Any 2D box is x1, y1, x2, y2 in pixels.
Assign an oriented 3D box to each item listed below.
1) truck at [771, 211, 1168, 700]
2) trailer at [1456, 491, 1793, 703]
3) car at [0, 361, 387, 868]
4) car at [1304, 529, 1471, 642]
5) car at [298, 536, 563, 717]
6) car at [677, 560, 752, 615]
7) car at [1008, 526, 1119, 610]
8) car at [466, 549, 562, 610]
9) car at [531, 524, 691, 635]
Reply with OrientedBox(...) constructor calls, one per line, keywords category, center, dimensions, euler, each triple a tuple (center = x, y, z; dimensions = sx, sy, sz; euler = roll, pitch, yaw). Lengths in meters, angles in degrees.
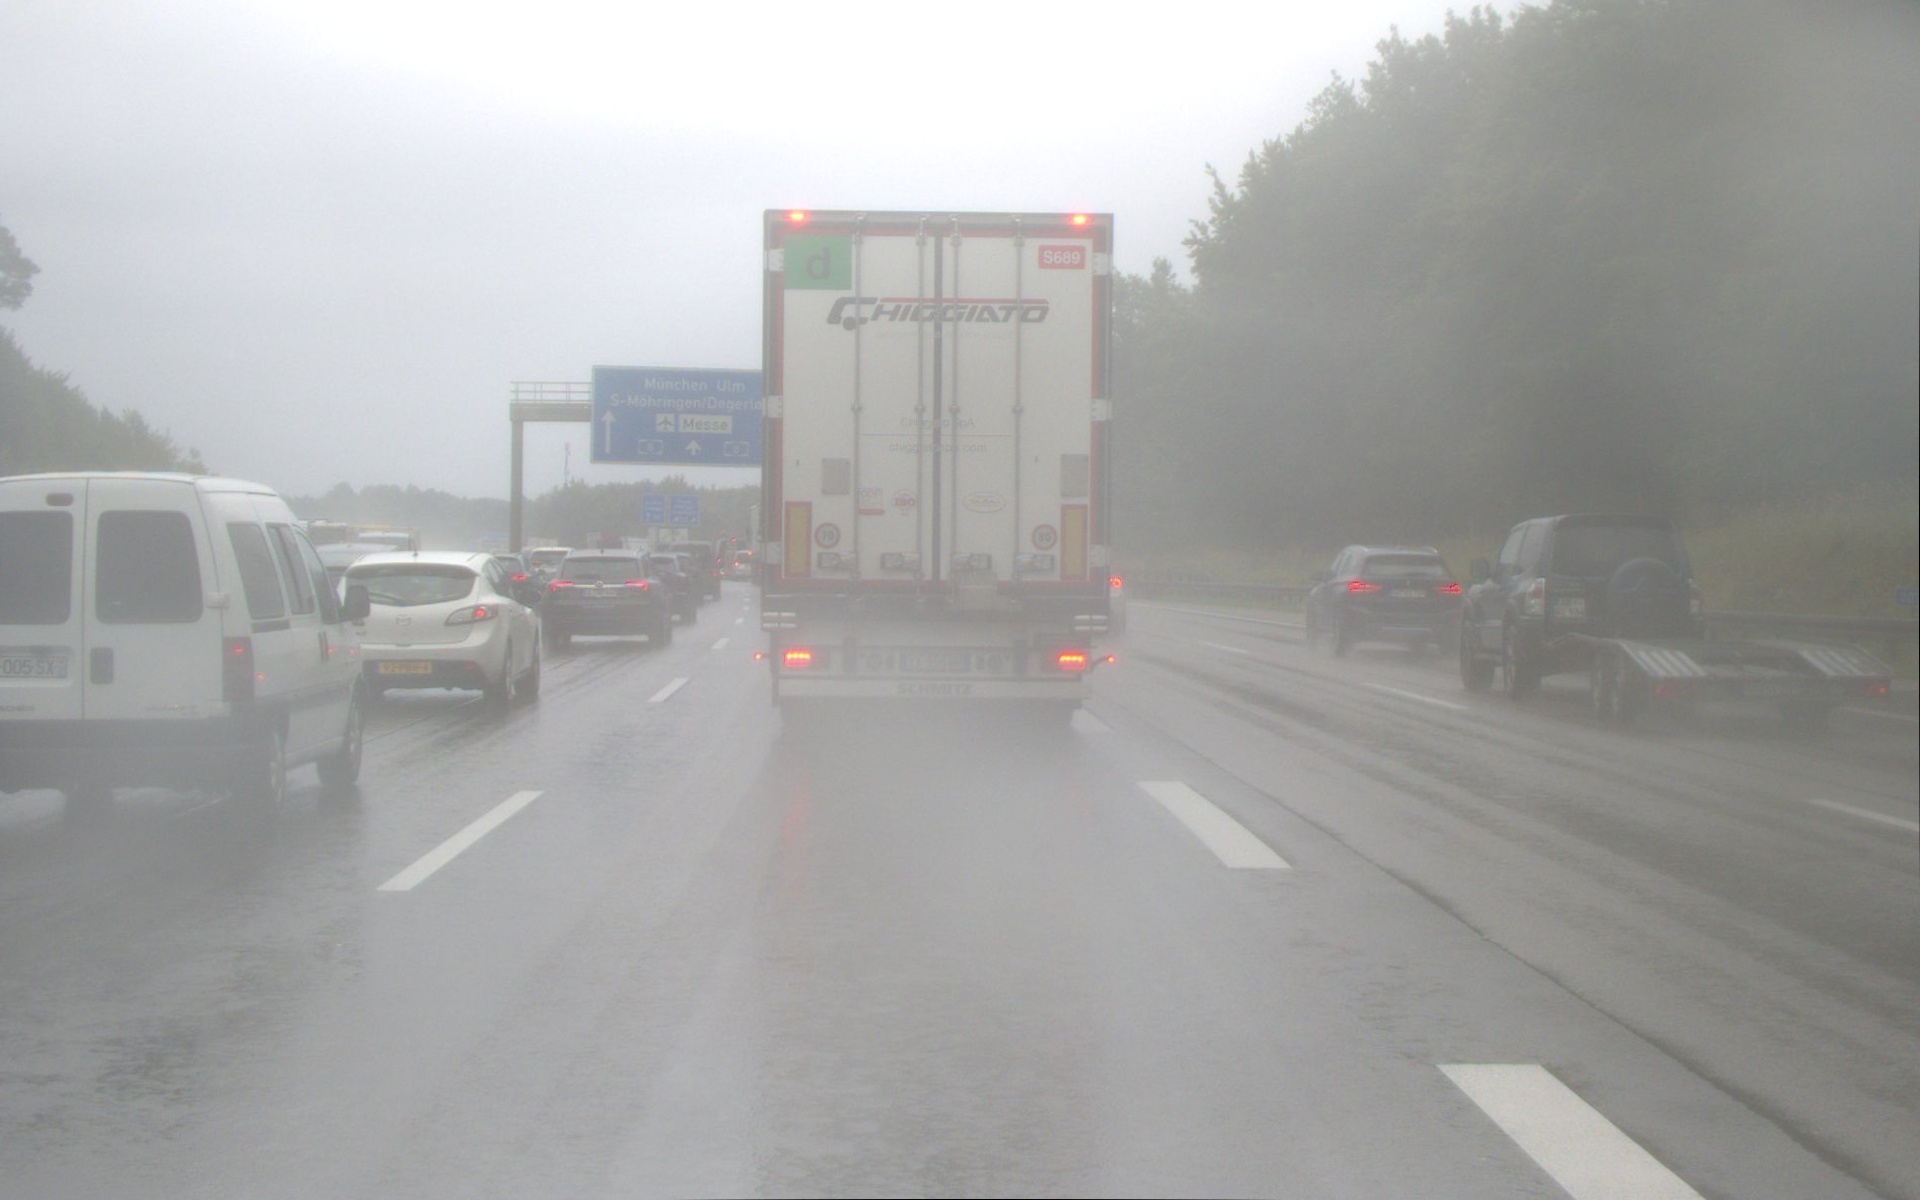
OrientedBox(category="truck", center=(0.045, -1.120, 30.841), dimensions=(2.872, 3.550, 11.302), euler=(1, 1, 0))
OrientedBox(category="trailer", center=(5.789, -0.084, 30.600), dimensions=(2.243, 1.709, 5.082), euler=(1, 1, 3))
OrientedBox(category="car", center=(-4.757, 0.015, 19.923), dimensions=(2.212, 2.564, 5.016), euler=(1, 1, -2))
OrientedBox(category="car", center=(6.317, -0.260, 51.283), dimensions=(1.990, 1.578, 4.767), euler=(1, 1, 2))
OrientedBox(category="car", center=(-4.989, 0.198, 32.892), dimensions=(1.845, 1.586, 4.072), euler=(1, 1, 1))
OrientedBox(category="car", center=(-6.424, -0.351, 90.299), dimensions=(1.845, 1.326, 4.467), euler=(1, 1, -3))
OrientedBox(category="car", center=(1.819, -0.596, 61.671), dimensions=(1.890, 1.420, 4.483), euler=(1, 1, 1))
OrientedBox(category="car", center=(-10.306, -0.500, 79.629), dimensions=(1.845, 1.326, 4.467), euler=(1, 1, -3))
OrientedBox(category="car", center=(-5.253, -0.351, 52.224), dimensions=(1.845, 1.586, 4.466), euler=(1, 1, 2))
